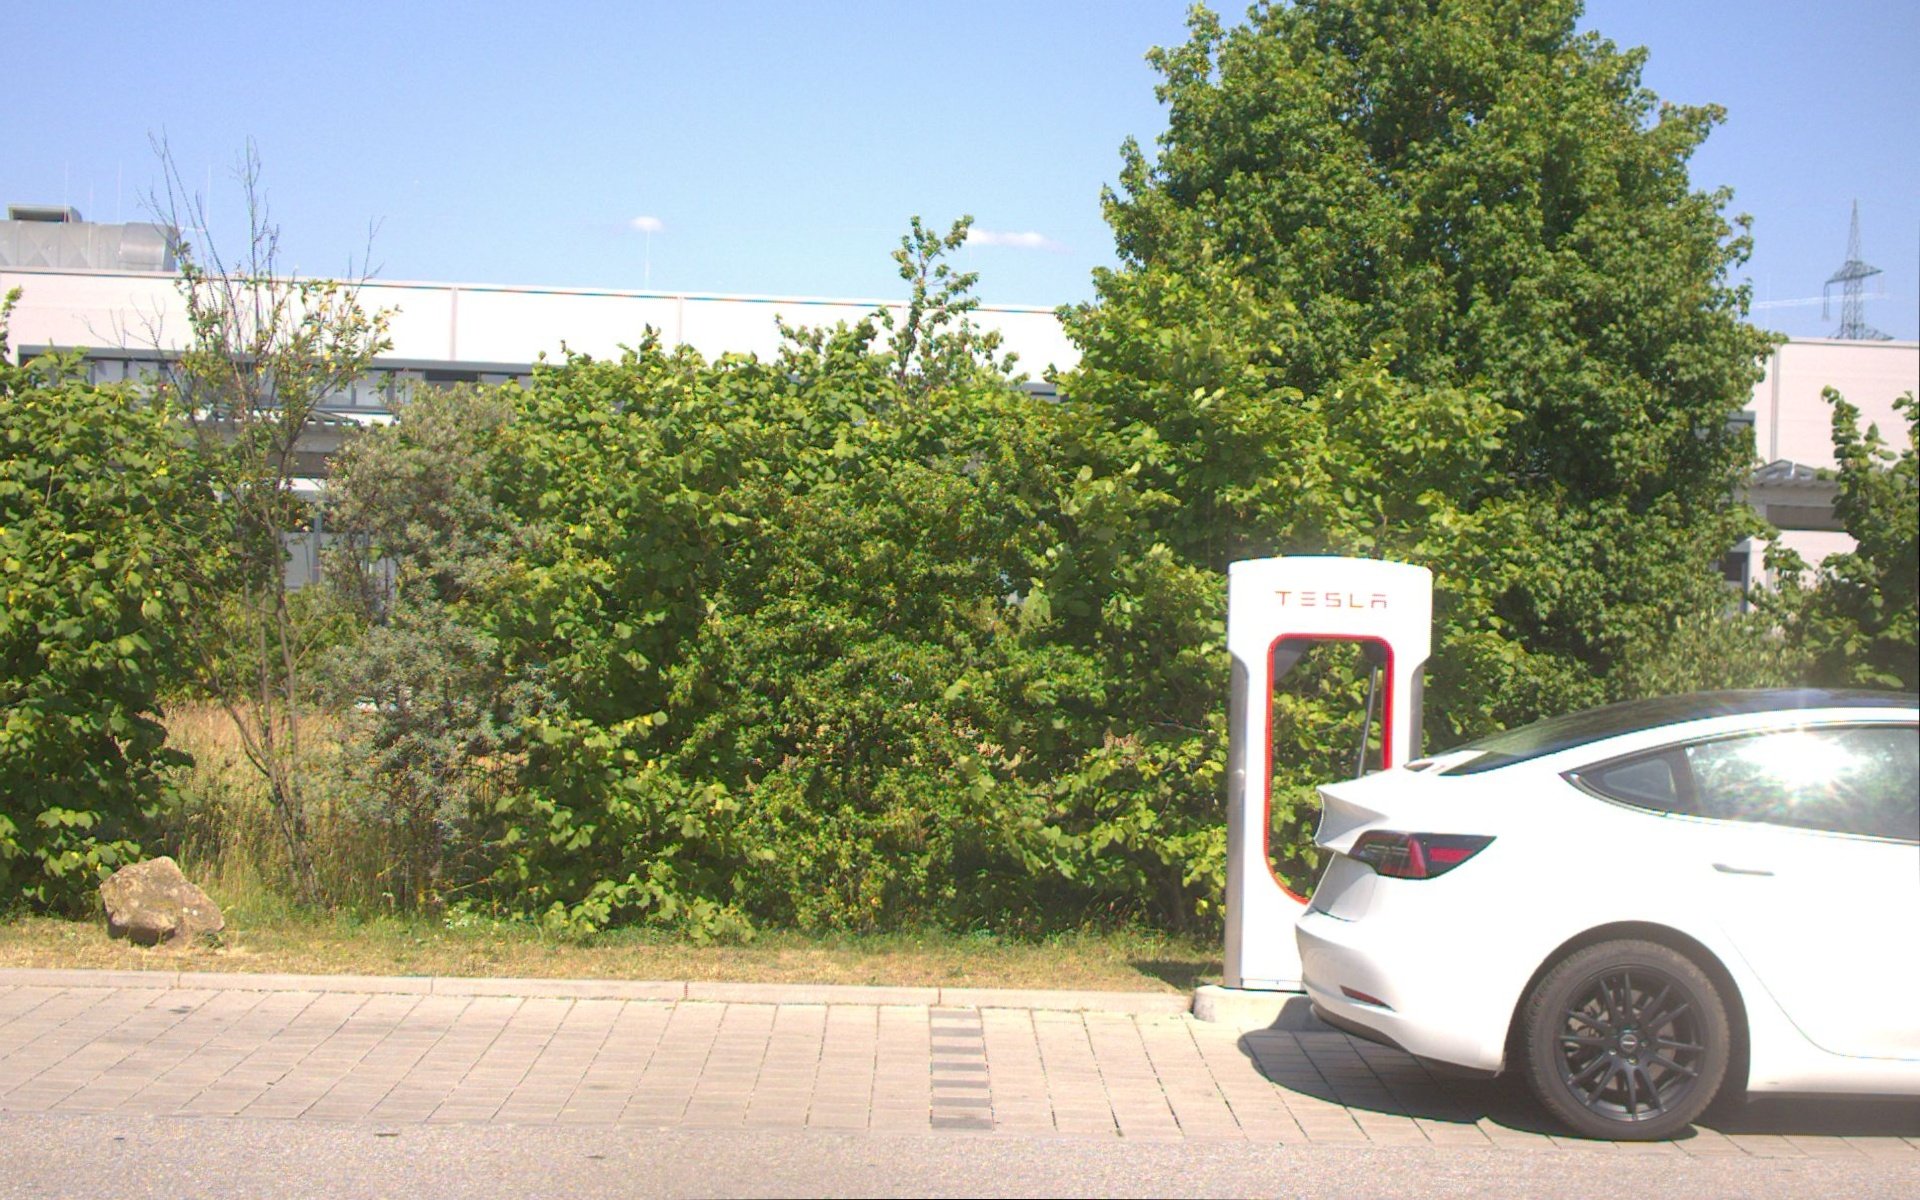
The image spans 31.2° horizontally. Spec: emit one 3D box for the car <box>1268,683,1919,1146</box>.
[{"bbox_3d":[3.380,1.050,11.795,4.434,1.373,1.822,1,0,-1],"label":"car"}]
